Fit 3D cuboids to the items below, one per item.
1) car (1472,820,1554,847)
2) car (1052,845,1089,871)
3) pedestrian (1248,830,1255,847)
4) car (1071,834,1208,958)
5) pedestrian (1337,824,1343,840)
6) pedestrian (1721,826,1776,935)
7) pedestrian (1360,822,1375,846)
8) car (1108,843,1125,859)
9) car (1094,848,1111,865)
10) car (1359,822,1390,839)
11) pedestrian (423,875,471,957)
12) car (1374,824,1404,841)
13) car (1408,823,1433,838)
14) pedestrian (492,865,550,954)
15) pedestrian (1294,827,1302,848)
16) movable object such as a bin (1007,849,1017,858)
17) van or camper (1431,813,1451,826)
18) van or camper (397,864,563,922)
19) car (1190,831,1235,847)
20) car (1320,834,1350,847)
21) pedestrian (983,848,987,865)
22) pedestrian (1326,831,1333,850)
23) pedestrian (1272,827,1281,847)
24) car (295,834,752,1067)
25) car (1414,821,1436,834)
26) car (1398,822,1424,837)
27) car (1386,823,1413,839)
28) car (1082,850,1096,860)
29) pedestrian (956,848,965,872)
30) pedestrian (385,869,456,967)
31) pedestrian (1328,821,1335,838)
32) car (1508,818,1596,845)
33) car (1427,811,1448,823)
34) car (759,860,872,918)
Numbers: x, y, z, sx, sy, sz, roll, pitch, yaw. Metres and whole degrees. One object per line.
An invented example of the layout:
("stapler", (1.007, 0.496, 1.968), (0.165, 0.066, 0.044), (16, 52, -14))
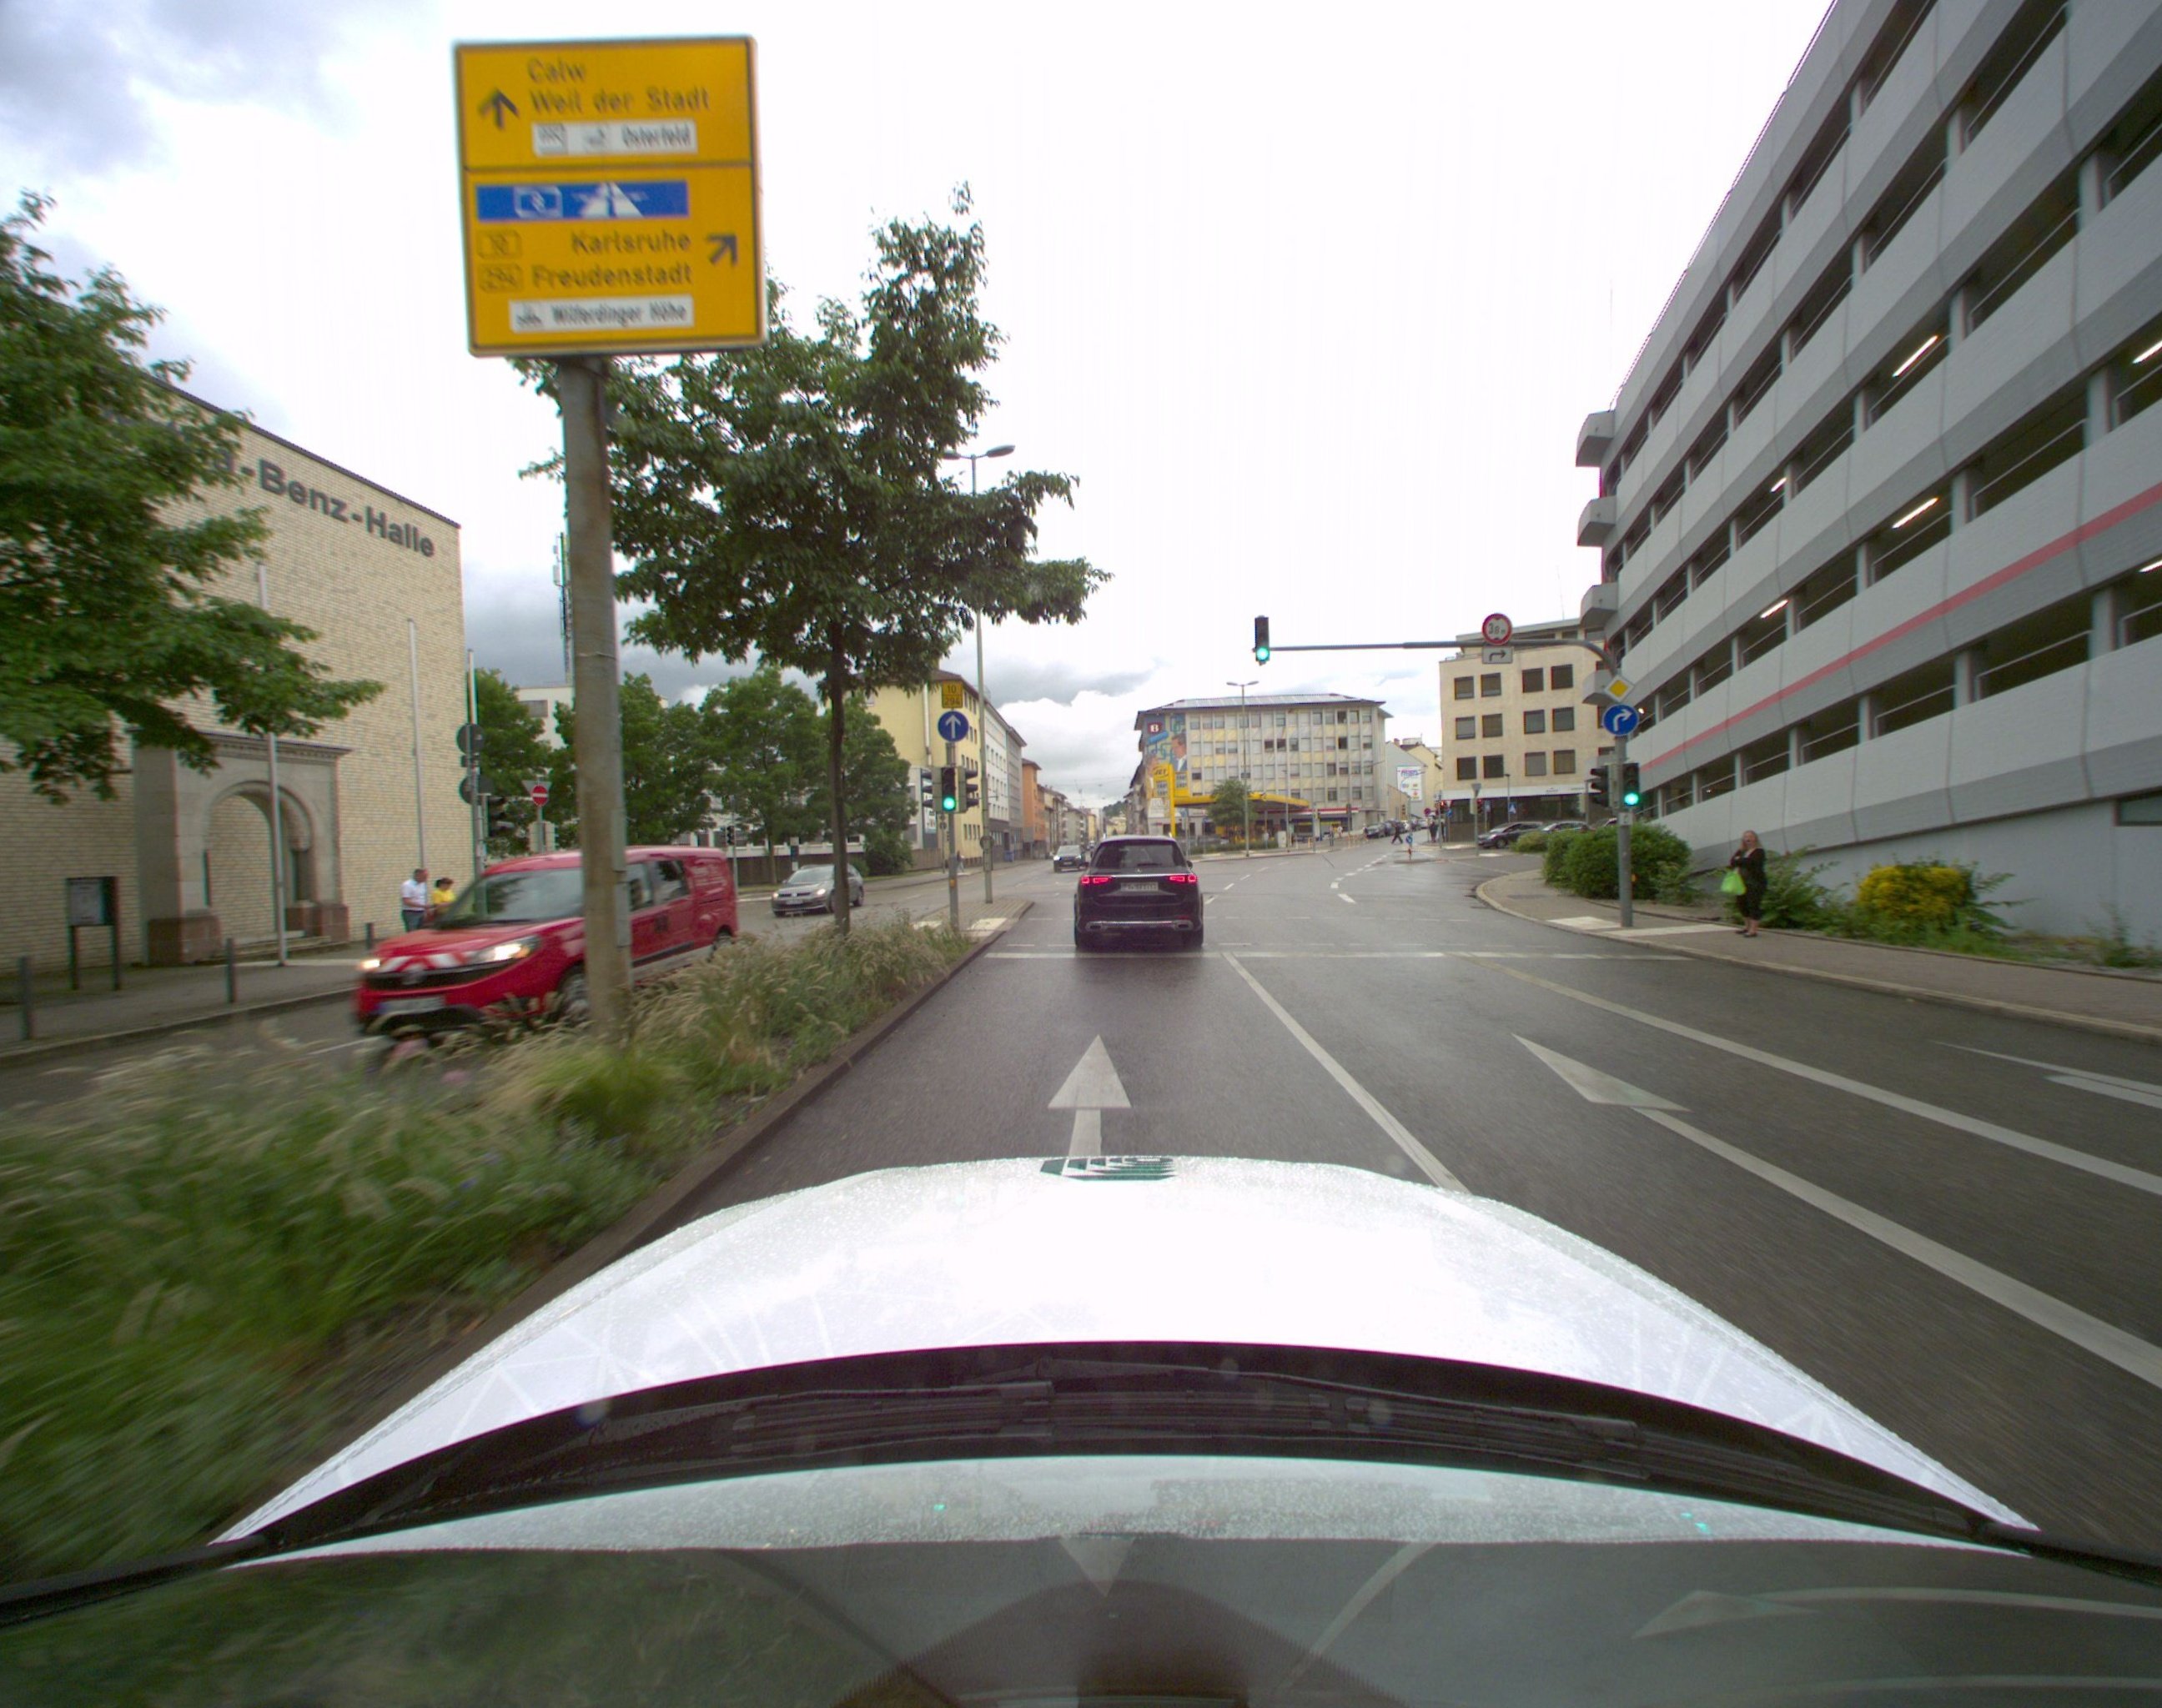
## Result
("car", (27.210, -1.288, 51.455), (4.159, 1.439, 1.863), (-3, 0, 9))
("car", (-0.613, 0.281, 51.109), (1.985, 1.614, 4.193), (0, -1, 3))
("pedestrian", (17.544, -1.596, 83.847), (0.521, 1.727, 0.693), (-2, 0, 32))
("car", (0.945, 0.652, 13.893), (1.985, 1.800, 4.002), (0, -1, 3))
("pedestrian", (26.441, -2.241, 82.993), (0.478, 1.641, 0.441), (-1, -2, 31))
("pedestrian", (10.805, 0.424, 13.190), (0.639, 1.710, 0.474), (-2, -2, 39))
("pedestrian", (25.635, -1.807, 72.920), (0.853, 2.128, 0.947), (-3, 0, -3))
("car", (3.652, -0.260, 83.158), (1.677, 1.596, 4.001), (0, -1, 2))
("car", (2.610, 0.283, 98.463), (1.986, 2.014, 4.001), (0, -1, 2))
("car", (31.083, -2.477, 86.194), (1.974, 1.706, 4.026), (-2, 0, 36))
("pedestrian", (-12.249, 1.181, 15.747), (0.437, 1.534, 0.546), (-2, 0, 0))
("car", (34.194, -2.401, 90.346), (1.974, 1.706, 4.026), (-2, 0, 36))
("car", (43.239, -2.981, 103.800), (1.974, 1.706, 4.026), (-2, 0, 36))
("pedestrian", (-11.634, 1.132, 16.944), (0.686, 1.757, 0.716), (-2, 0, -9))
("pedestrian", (18.149, -1.364, 68.055), (0.569, 1.697, 0.631), (0, -1, 4))
("movable object such as a bin", (-7.631, -0.057, 90.202), (0.906, 1.038, 0.844), (0, -1, 3))
("van or camper", (57.912, -5.499, 130.911), (1.974, 1.979, 4.543), (-3, 0, 36))
("van or camper", (-22.498, 1.449, 30.608), (4.719, 1.931, 2.024), (-2, 0, 2))
("car", (12.343, -1.399, 76.733), (1.746, 1.376, 3.952), (-3, 0, -41))
("car", (29.574, -1.581, 94.767), (1.974, 1.398, 4.024), (-1, -1, 41))
("pedestrian", (-9.637, 0.264, 81.741), (0.244, 1.624, 0.411), (0, -1, 4))
("pedestrian", (18.712, -1.044, 61.377), (0.394, 1.400, 0.447), (0, -1, 4))
("pedestrian", (16.736, -1.440, 69.690), (0.521, 1.727, 0.693), (-2, 0, 29))
("car", (-5.692, 0.830, 9.300), (1.787, 1.854, 4.792), (-4, 0, 0))
("car", (48.190, -3.715, 114.122), (1.974, 1.706, 4.026), (-2, 0, 36))
("car", (40.273, -3.046, 99.329), (1.974, 1.706, 4.026), (-2, 0, 36))
("car", (36.968, -2.633, 94.459), (1.974, 1.706, 4.026), (-2, 0, 36))
("car", (1.345, 0.202, 137.470), (1.984, 1.547, 4.195), (0, -1, 5))
("pedestrian", (-8.947, 0.461, 60.441), (0.626, 1.727, 0.649), (-2, 0, -8))
("pedestrian", (-11.665, 1.115, 14.396), (0.609, 1.656, 0.691), (-2, 0, 0))
("pedestrian", (25.979, -2.495, 84.475), (0.521, 1.727, 0.693), (-2, 0, 29))
("car", (28.206, -1.334, 48.920), (4.159, 1.439, 1.863), (-3, 0, 9))
("car", (54.565, -5.638, 124.590), (1.974, 1.713, 4.413), (-2, 0, 36))
("car", (-8.131, 1.021, 25.393), (1.839, 1.429, 4.437), (-4, 1, 2))
